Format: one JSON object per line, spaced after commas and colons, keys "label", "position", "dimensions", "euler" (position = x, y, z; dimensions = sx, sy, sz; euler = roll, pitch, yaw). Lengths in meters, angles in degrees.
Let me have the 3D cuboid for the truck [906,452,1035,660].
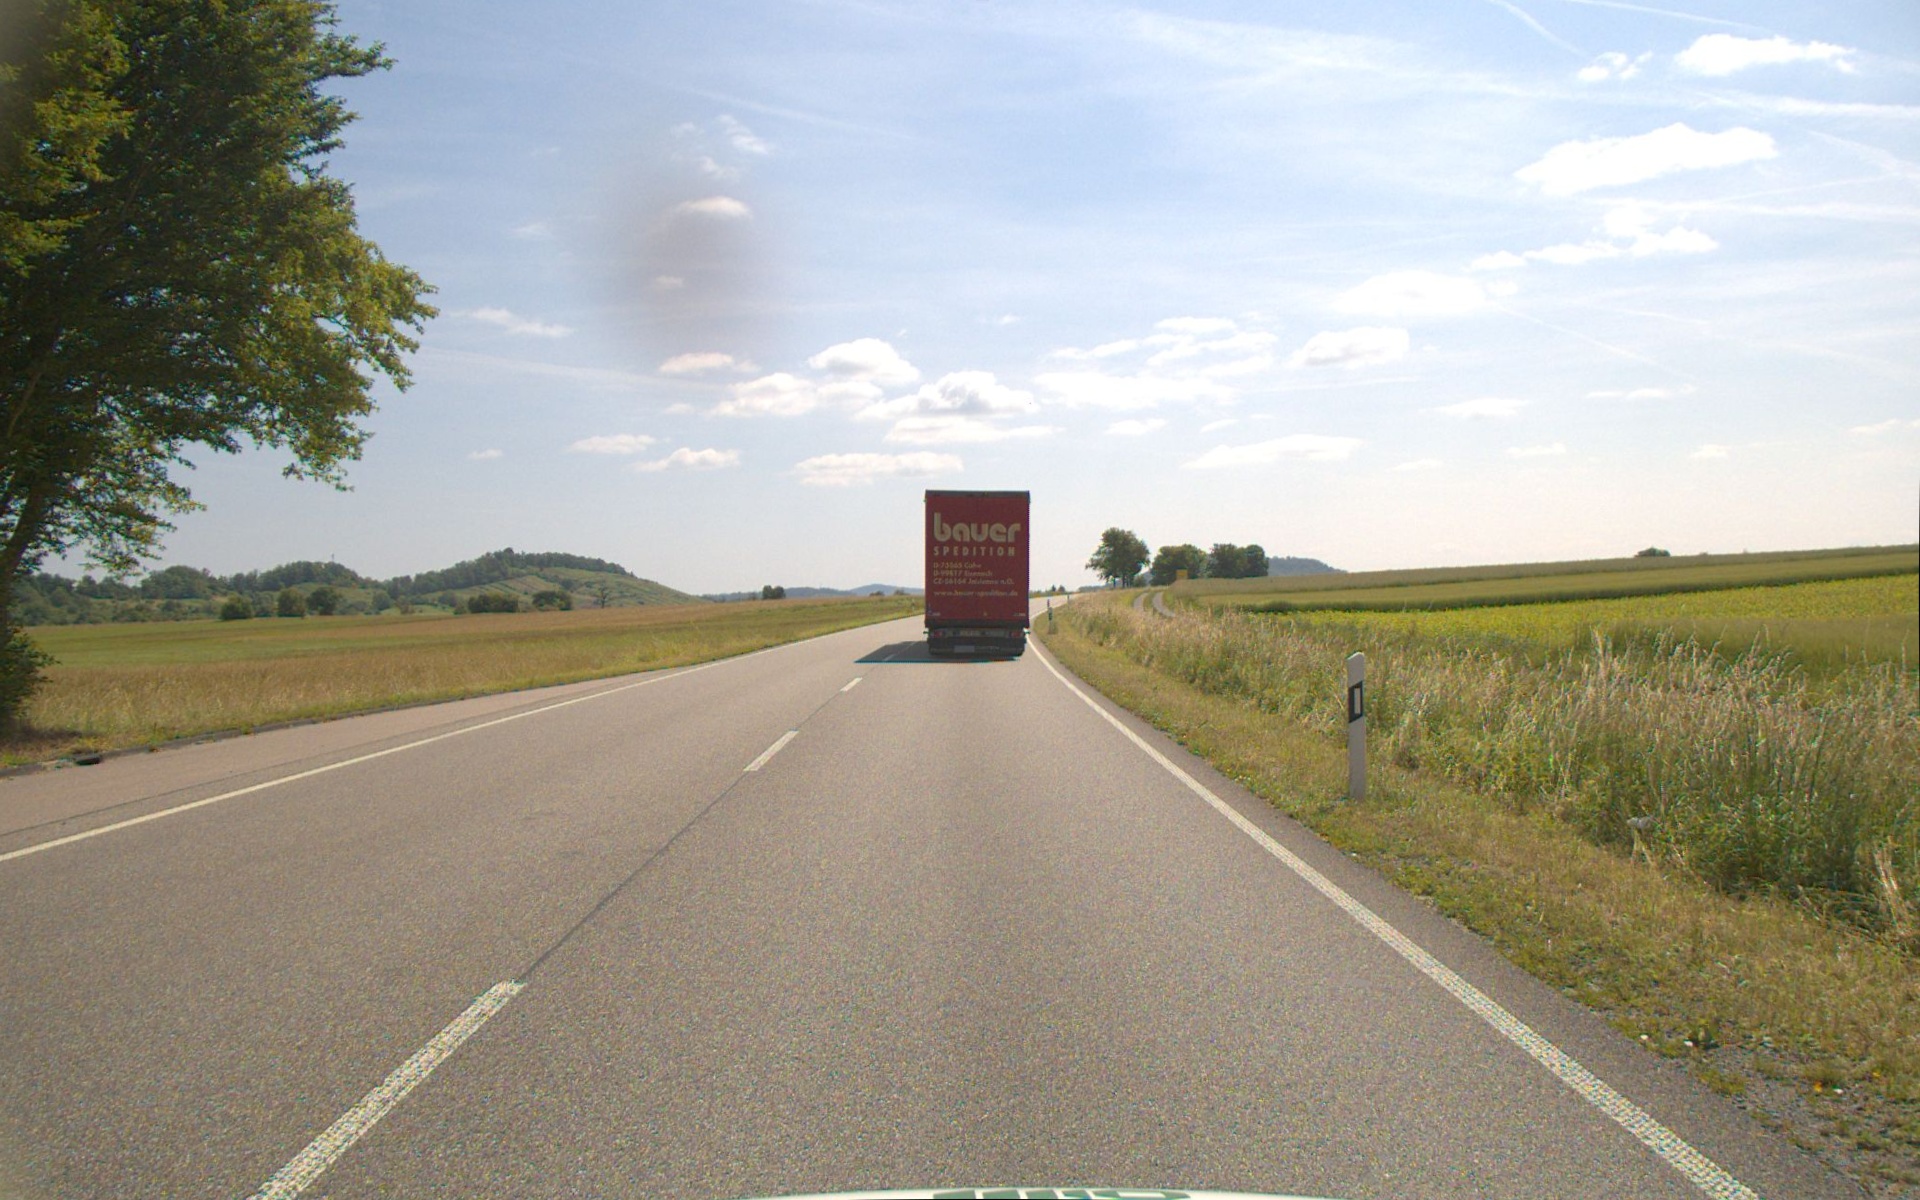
{"label": "truck", "position": [0.189, -1.036, 43.578], "dimensions": [2.915, 4.795, 9.364], "euler": [2, 0, -1]}
